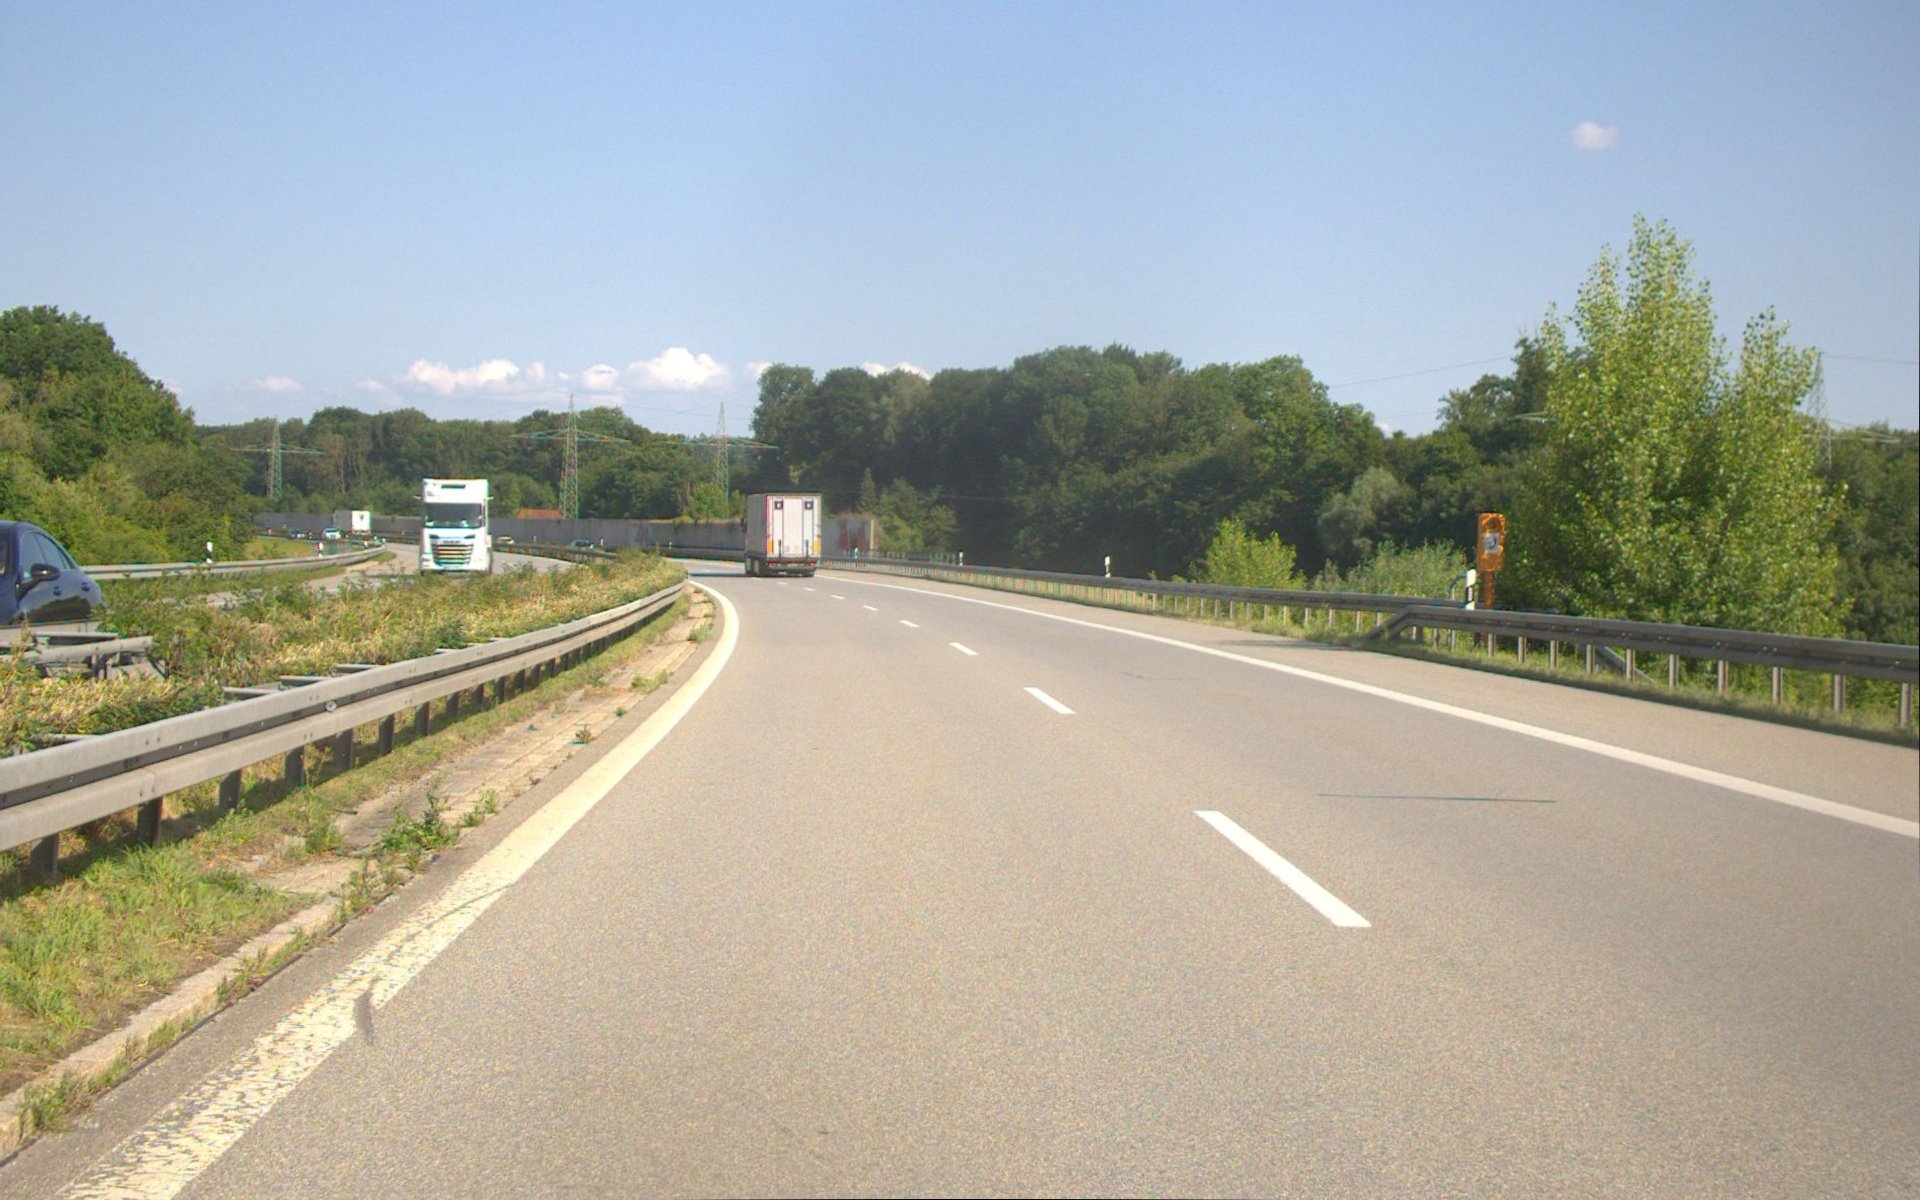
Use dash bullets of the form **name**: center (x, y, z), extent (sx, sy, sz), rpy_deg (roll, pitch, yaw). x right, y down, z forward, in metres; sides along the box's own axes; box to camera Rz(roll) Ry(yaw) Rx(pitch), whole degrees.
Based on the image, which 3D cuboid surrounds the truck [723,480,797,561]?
- **truck**: center (-10.222, -4.048, 175.036), extent (2.829, 3.998, 6.589), rpy_deg (0, 1, -11)

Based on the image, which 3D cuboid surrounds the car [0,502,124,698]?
- **car**: center (-7.852, -0.019, 26.772), extent (1.729, 1.423, 3.881), rpy_deg (0, 1, 0)

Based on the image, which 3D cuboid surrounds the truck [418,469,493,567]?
- **truck**: center (-19.503, -3.171, 133.219), extent (2.740, 3.714, 5.973), rpy_deg (0, 1, -7)

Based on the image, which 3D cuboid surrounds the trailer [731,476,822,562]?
- **trailer**: center (-9.104, -3.991, 169.031), extent (2.883, 4.052, 12.424), rpy_deg (0, 1, -10)
